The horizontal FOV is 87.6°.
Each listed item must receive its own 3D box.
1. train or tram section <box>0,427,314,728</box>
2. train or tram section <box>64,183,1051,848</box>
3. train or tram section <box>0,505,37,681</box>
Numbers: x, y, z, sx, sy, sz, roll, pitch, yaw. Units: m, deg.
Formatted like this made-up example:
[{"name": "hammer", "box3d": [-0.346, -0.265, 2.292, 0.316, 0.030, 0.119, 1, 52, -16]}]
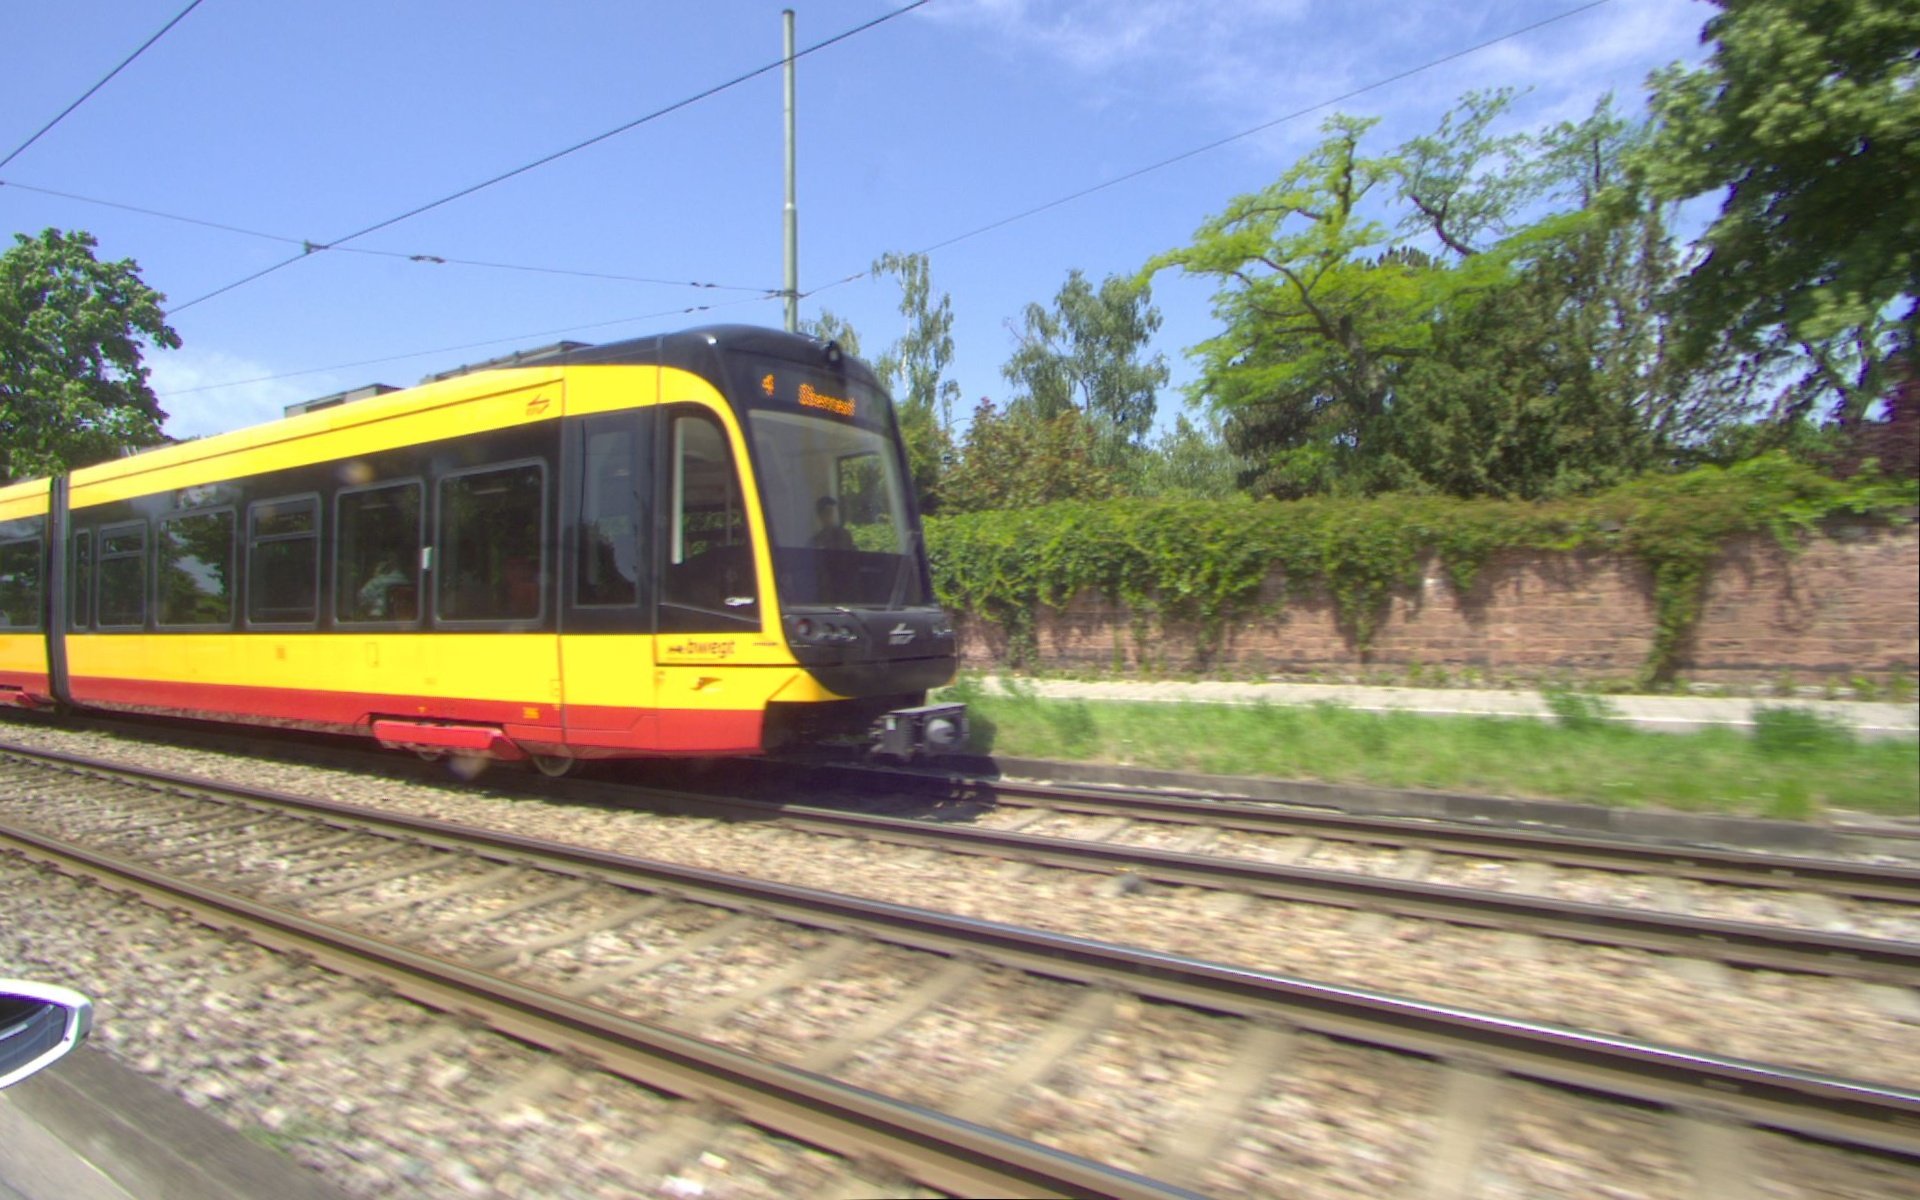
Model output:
[{"name": "train or tram section", "box3d": [-16.130, -0.198, 17.671, 12.907, 3.848, 3.021, -1, 0, 34]}, {"name": "train or tram section", "box3d": [-5.436, -0.399, 10.669, 12.908, 3.848, 3.020, -1, 0, 34]}, {"name": "train or tram section", "box3d": [-26.663, -0.071, 24.532, 12.582, 3.848, 3.021, -1, 0, 34]}]
